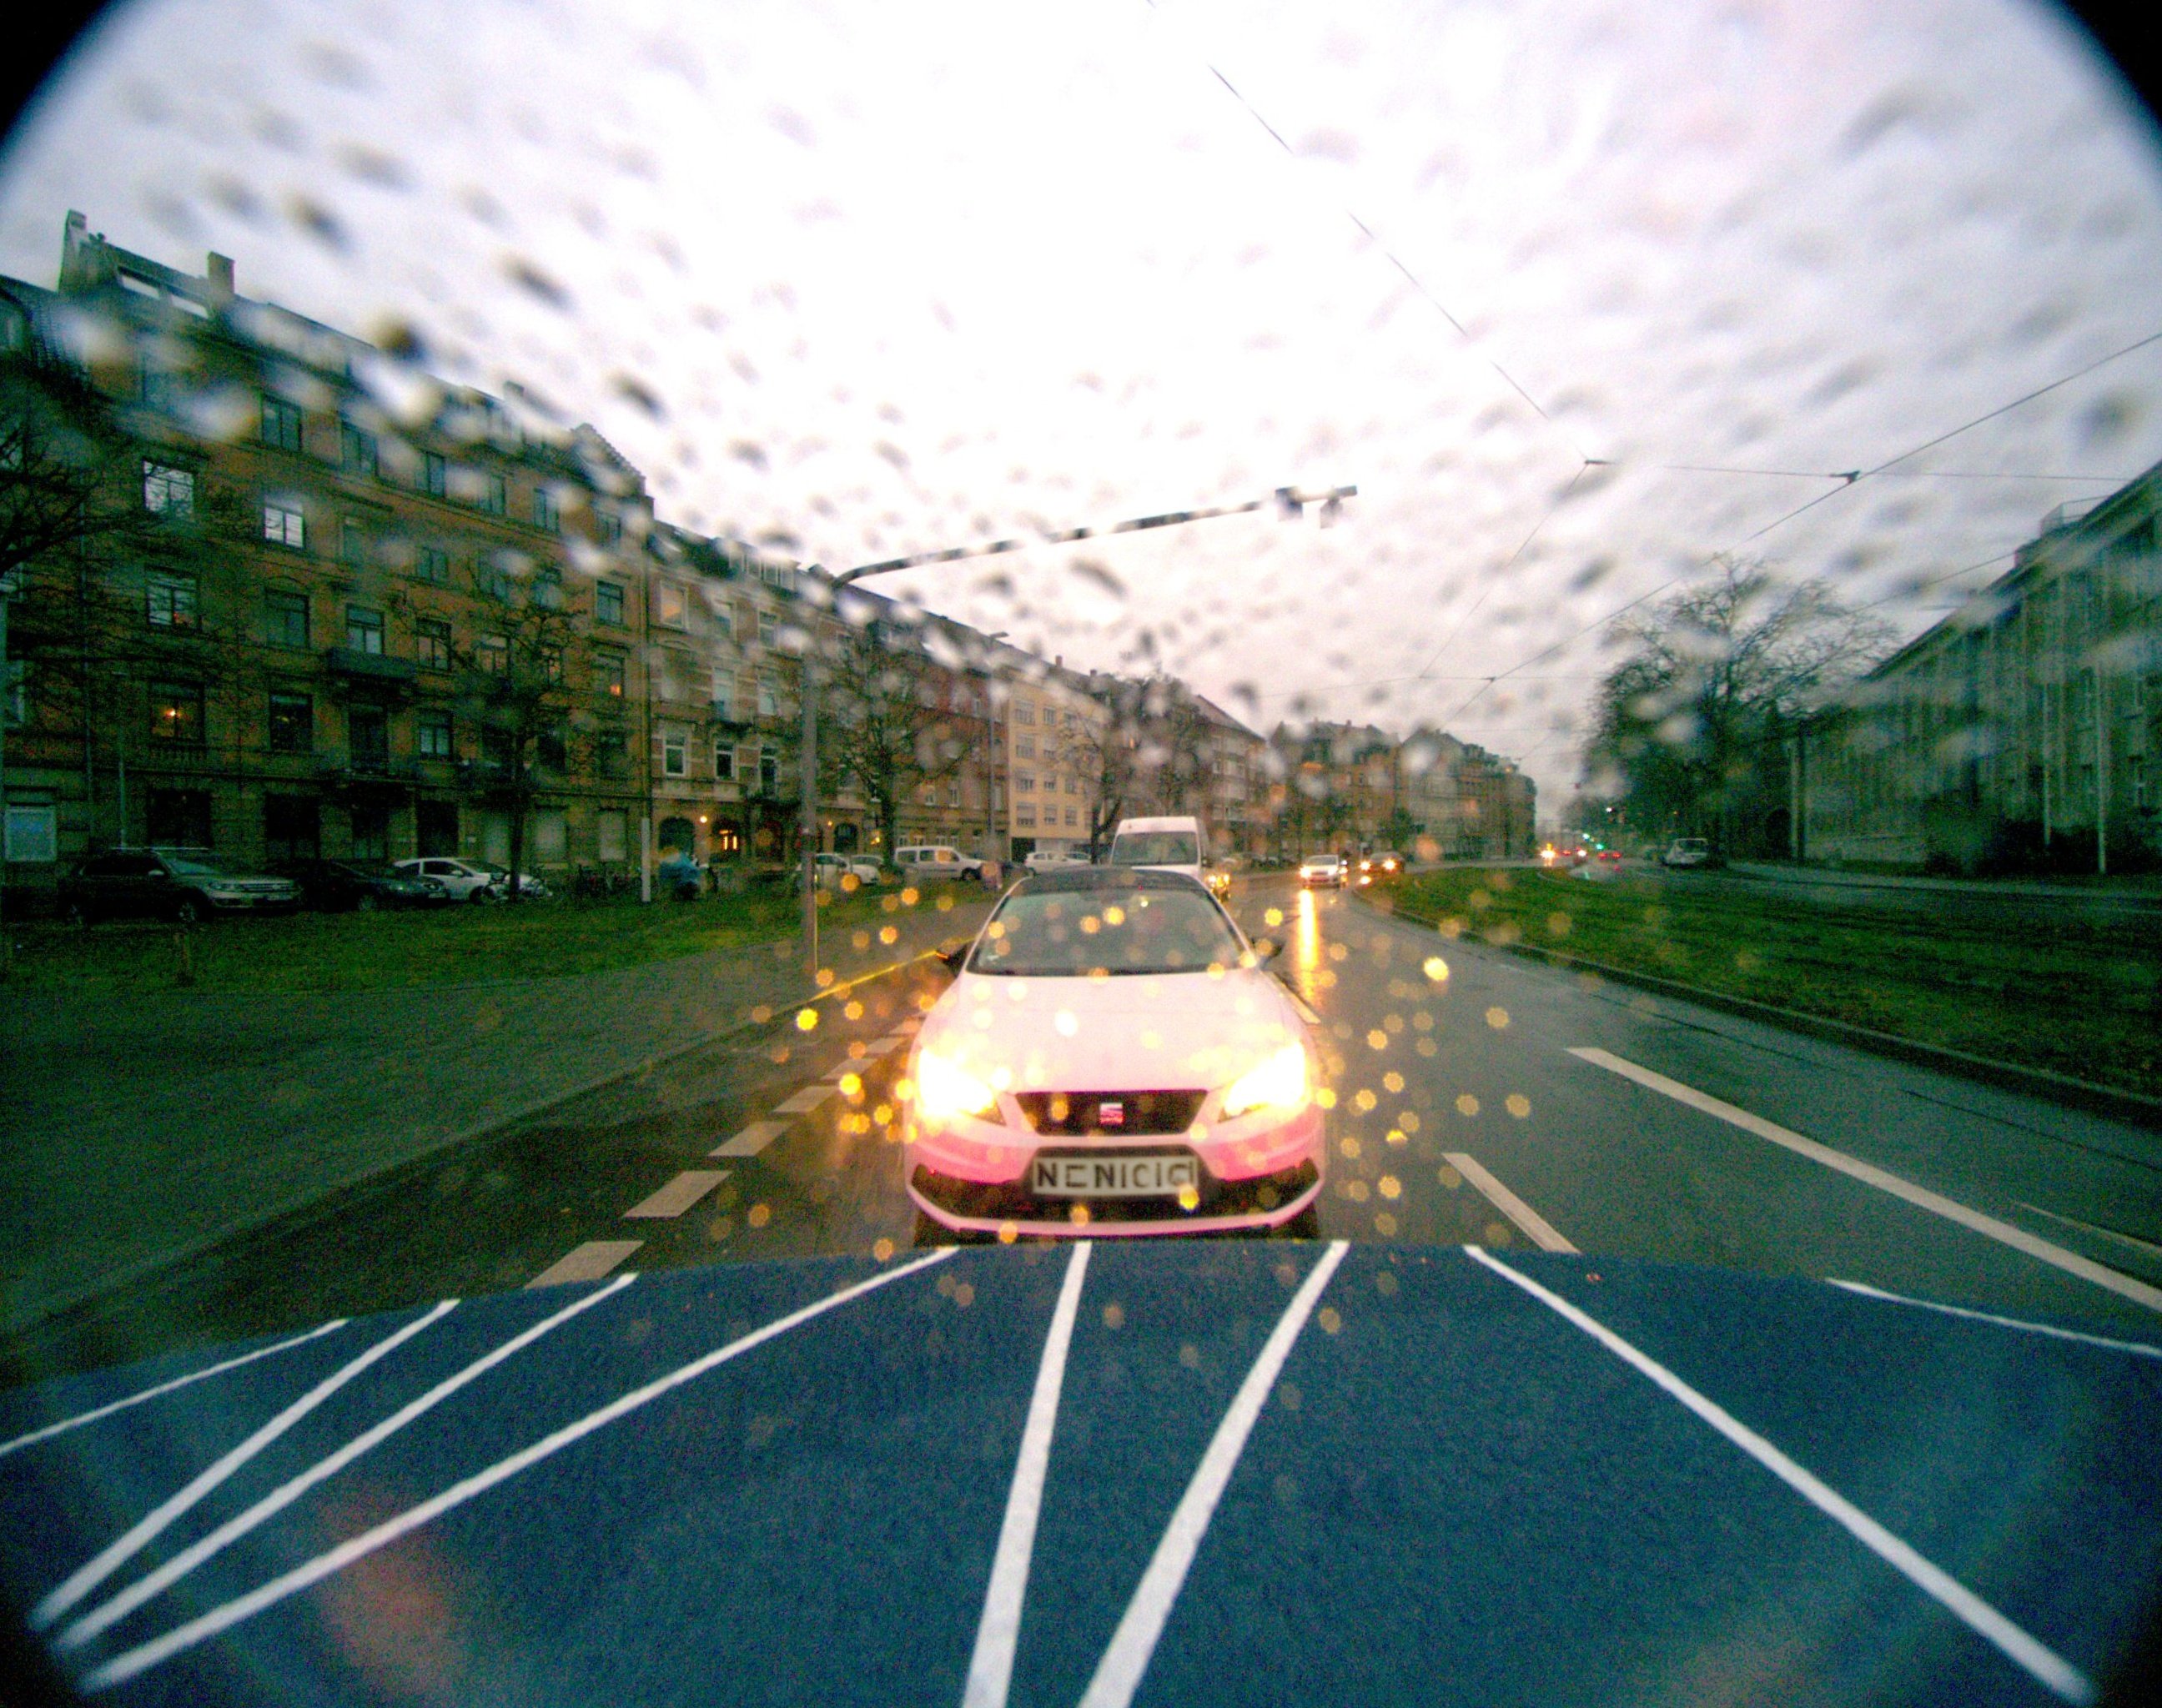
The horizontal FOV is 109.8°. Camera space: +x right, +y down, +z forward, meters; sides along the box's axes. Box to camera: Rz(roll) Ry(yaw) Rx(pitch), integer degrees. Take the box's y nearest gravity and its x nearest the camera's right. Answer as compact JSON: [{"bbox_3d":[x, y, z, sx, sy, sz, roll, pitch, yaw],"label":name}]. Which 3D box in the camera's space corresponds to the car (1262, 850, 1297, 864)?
[{"bbox_3d":[18.861,0.312,72.156,3.181,1.276,1.383,-1,0,14],"label":"car"}]

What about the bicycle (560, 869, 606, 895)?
[{"bbox_3d":[-16.417,0.916,25.033,1.790,0.790,0.447,1,1,28],"label":"bicycle"}]

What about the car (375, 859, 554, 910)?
[{"bbox_3d":[-17.052,0.819,21.113,3.684,1.298,1.669,-1,0,4],"label":"car"}]

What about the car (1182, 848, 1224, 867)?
[{"bbox_3d":[9.651,0.251,59.909,3.181,1.420,1.429,-1,0,13],"label":"car"}]

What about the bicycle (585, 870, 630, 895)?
[{"bbox_3d":[-15.917,0.943,25.517,1.790,0.773,0.447,1,1,28],"label":"bicycle"}]

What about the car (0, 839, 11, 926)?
[{"bbox_3d":[-29.185,0.753,17.783,1.994,2.176,4.670,-1,0,33],"label":"car"}]

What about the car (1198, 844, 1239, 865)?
[{"bbox_3d":[11.250,0.052,62.108,3.181,1.615,1.429,-1,0,13],"label":"car"}]

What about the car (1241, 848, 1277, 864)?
[{"bbox_3d":[16.207,0.204,69.139,3.181,1.405,1.383,-1,0,14],"label":"car"}]

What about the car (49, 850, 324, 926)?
[{"bbox_3d":[-19.550,0.717,16.722,4.152,1.560,1.742,-1,0,4],"label":"car"}]

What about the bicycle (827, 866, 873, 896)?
[{"bbox_3d":[-7.926,0.915,25.990,1.790,0.926,0.447,2,1,33],"label":"bicycle"}]

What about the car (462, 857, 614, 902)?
[{"bbox_3d":[-16.787,0.767,23.572,3.684,1.298,1.521,-1,0,4],"label":"car"}]

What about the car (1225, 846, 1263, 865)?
[{"bbox_3d":[14.313,0.093,66.724,3.181,1.615,1.447,-1,0,13],"label":"car"}]

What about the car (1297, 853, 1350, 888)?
[{"bbox_3d":[10.807,0.711,33.695,1.686,1.422,3.352,-1,0,27],"label":"car"}]

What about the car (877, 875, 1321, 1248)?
[{"bbox_3d":[0.133,0.927,5.264,1.787,1.370,4.223,-2,0,2],"label":"car"}]

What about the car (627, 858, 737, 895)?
[{"bbox_3d":[-14.758,0.828,28.206,3.297,1.298,1.522,-1,0,5],"label":"car"}]

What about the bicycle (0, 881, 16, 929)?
[{"bbox_3d":[-22.186,0.993,15.113,1.792,0.926,0.446,1,1,10],"label":"bicycle"}]

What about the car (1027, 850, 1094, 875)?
[{"bbox_3d":[-1.168,0.457,43.623,3.609,1.362,1.619,-1,0,9],"label":"car"}]

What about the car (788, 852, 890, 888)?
[{"bbox_3d":[-10.038,0.649,31.630,3.684,1.391,1.522,-1,0,5],"label":"car"}]

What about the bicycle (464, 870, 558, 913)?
[{"bbox_3d":[-14.583,0.940,19.484,1.911,1.013,0.535,0,1,-36],"label":"bicycle"}]

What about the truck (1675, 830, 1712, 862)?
[{"bbox_3d":[41.315,-0.541,51.330,1.833,2.032,4.008,0,0,37],"label":"truck"}]

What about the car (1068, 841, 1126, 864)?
[{"bbox_3d":[1.027,-0.104,48.389,3.611,1.362,1.618,-1,0,3],"label":"car"}]

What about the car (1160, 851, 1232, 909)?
[{"bbox_3d":[3.849,0.778,24.867,1.874,1.679,4.175,-1,0,15],"label":"car"}]

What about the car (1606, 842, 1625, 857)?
[{"bbox_3d":[60.668,-0.508,86.229,1.686,1.630,3.654,-1,0,34],"label":"car"}]

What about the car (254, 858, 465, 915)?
[{"bbox_3d":[-17.821,0.772,18.878,3.684,1.298,1.742,-1,0,4],"label":"car"}]

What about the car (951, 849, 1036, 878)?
[{"bbox_3d":[-4.425,0.475,38.714,3.958,1.436,1.703,-1,0,10],"label":"car"}]

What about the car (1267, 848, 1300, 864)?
[{"bbox_3d":[20.384,0.203,76.484,3.181,1.474,1.383,-1,0,14],"label":"car"}]

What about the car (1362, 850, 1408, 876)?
[{"bbox_3d":[19.086,0.547,47.614,1.836,1.524,3.824,-1,0,36],"label":"car"}]

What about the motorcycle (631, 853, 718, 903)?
[{"bbox_3d":[-12.079,0.698,22.571,2.352,1.338,0.886,2,2,19],"label":"motorcycle"}]

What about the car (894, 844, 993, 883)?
[{"bbox_3d":[-6.536,0.435,36.467,4.341,1.757,1.782,-1,0,4],"label":"car"}]

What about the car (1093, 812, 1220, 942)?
[{"bbox_3d":[1.942,0.433,17.365,2.239,2.448,5.674,-1,0,12],"label":"car"}]

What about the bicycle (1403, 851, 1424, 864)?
[{"bbox_3d":[43.807,0.437,100.087,2.446,1.697,0.847,-2,1,30],"label":"bicycle"}]

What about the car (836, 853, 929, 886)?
[{"bbox_3d":[-8.873,0.673,34.119,3.684,1.428,1.522,-1,0,5],"label":"car"}]

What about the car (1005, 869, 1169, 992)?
[{"bbox_3d":[0.277,0.982,11.227,1.722,1.380,3.825,-1,0,11],"label":"car"}]

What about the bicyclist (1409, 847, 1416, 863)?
[{"bbox_3d":[43.692,0.150,100.131,0.777,2.002,0.831,-2,1,30],"label":"bicyclist"}]

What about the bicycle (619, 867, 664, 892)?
[{"bbox_3d":[-15.396,0.895,26.610,1.791,0.813,0.395,1,1,25],"label":"bicycle"}]

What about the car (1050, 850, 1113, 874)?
[{"bbox_3d":[0.064,0.468,45.893,3.609,1.362,1.619,-1,0,9],"label":"car"}]
